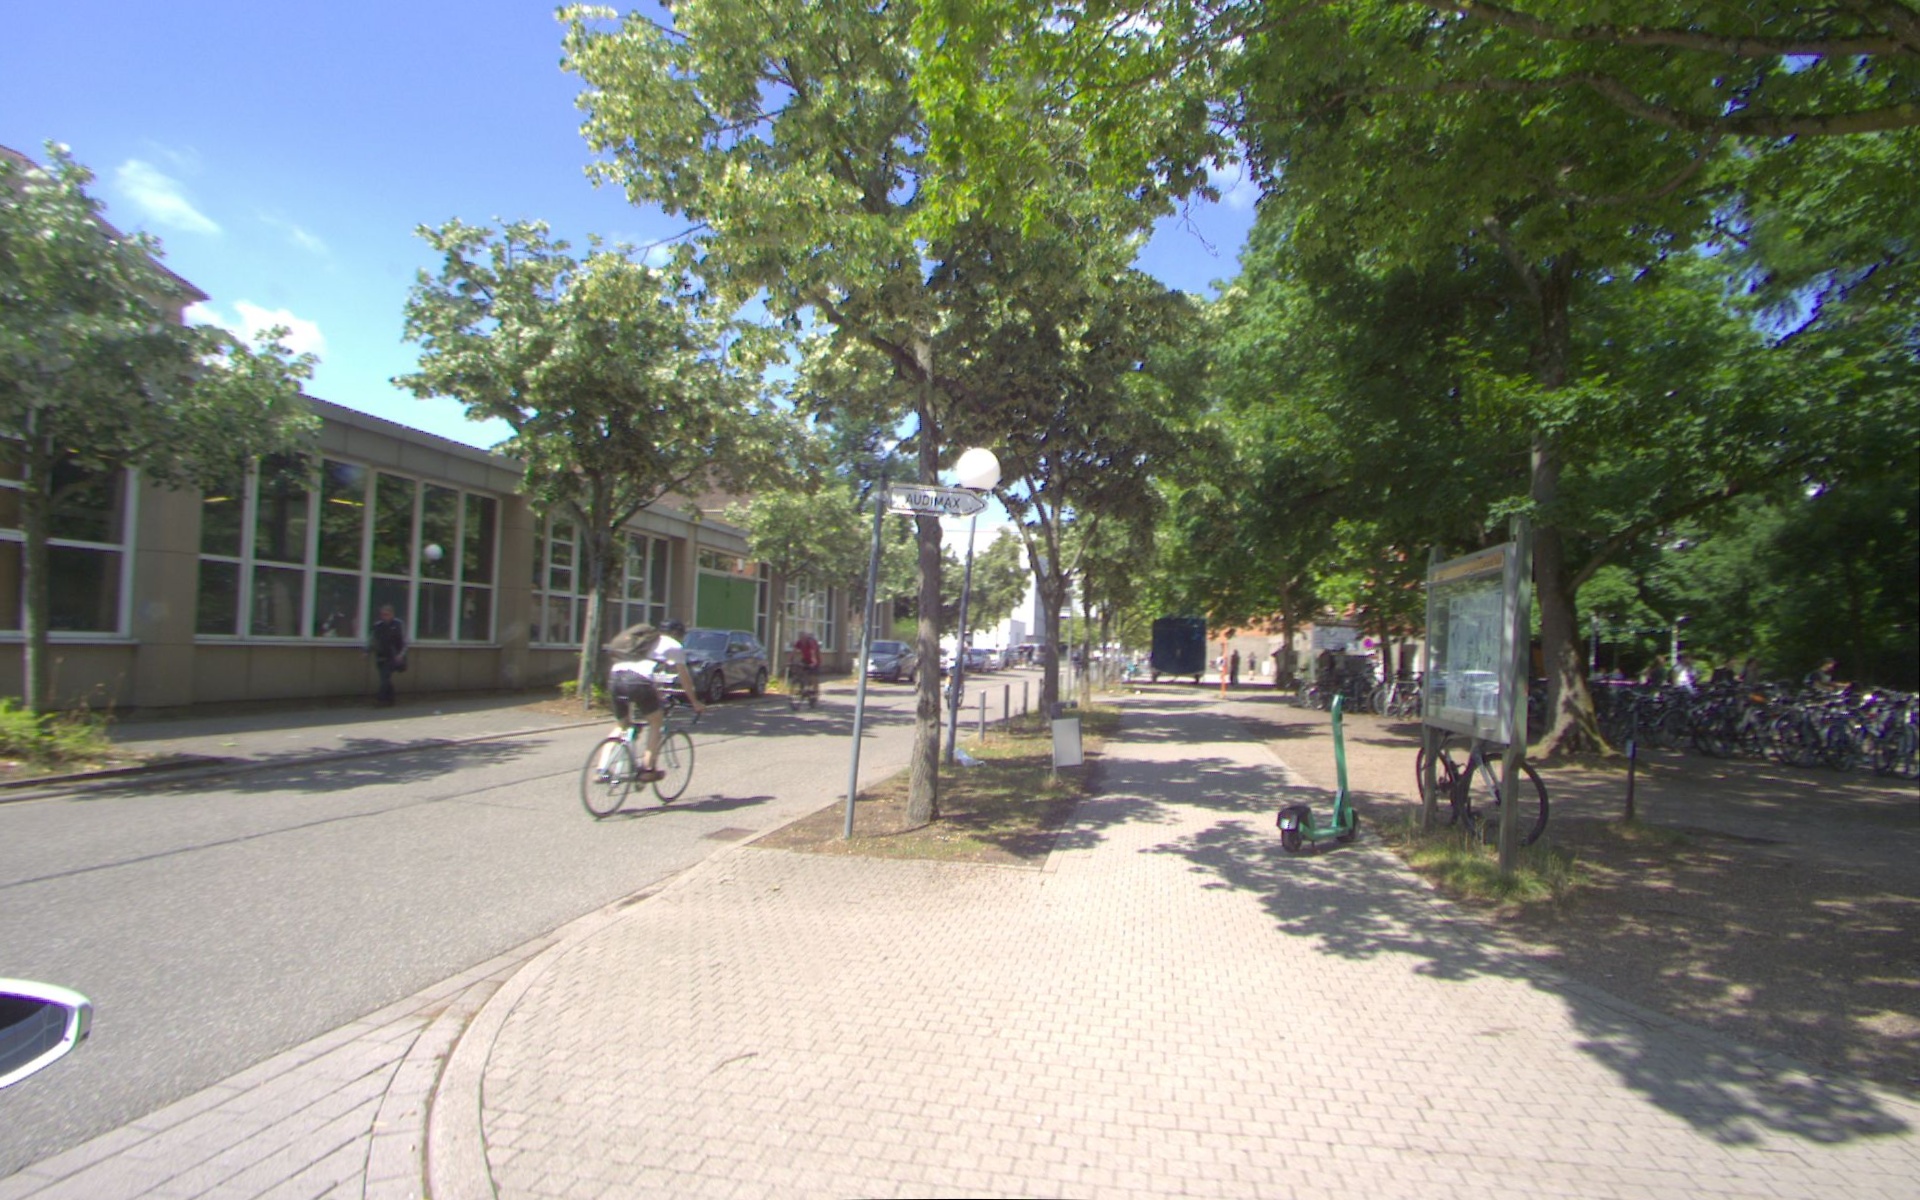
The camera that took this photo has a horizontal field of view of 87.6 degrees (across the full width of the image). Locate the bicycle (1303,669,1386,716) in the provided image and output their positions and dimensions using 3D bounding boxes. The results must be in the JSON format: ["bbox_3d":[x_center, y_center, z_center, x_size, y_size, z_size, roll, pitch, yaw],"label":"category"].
[{"bbox_3d":[9.752,2.340,25.416,1.912,1.096,0.405,2,-1,0],"label":"bicycle"}]

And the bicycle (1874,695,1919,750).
[{"bbox_3d":[18.178,2.332,19.183,1.876,0.991,0.377,3,-3,-28],"label":"bicycle"}]

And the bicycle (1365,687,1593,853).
[{"bbox_3d":[3.935,1.250,7.751,0.617,1.096,1.689,5,-5,-11],"label":"bicycle"}]

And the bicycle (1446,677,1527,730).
[{"bbox_3d":[11.039,2.174,20.992,1.767,1.041,0.439,3,-2,-21],"label":"bicycle"}]

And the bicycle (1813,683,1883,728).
[{"bbox_3d":[22.677,2.691,25.572,1.722,1.107,0.478,2,-2,-15],"label":"bicycle"}]

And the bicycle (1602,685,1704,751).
[{"bbox_3d":[11.919,2.028,17.210,1.762,1.083,0.426,3,-2,-17],"label":"bicycle"}]

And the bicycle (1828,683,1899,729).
[{"bbox_3d":[22.768,2.676,25.235,1.722,1.107,0.478,2,-2,-15],"label":"bicycle"}]

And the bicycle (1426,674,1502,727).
[{"bbox_3d":[10.765,2.148,21.393,1.712,1.066,0.493,3,-2,-25],"label":"bicycle"}]

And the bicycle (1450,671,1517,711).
[{"bbox_3d":[15.875,2.750,30.348,1.868,1.157,0.478,2,-2,-8],"label":"bicycle"}]

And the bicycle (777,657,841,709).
[{"bbox_3d":[-3.345,1.874,22.404,0.803,1.053,1.934,2,-6,9],"label":"bicycle"}]

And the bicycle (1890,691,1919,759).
[{"bbox_3d":[16.667,2.125,17.101,1.874,1.096,0.477,3,-2,-25],"label":"bicycle"}]

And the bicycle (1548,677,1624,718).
[{"bbox_3d":[16.228,2.525,25.954,1.869,0.991,0.478,2,-2,-12],"label":"bicycle"}]

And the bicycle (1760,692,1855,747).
[{"bbox_3d":[16.056,2.261,18.967,1.871,0.991,0.478,2,-2,-19],"label":"bicycle"}]

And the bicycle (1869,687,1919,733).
[{"bbox_3d":[23.215,2.706,24.619,1.581,1.107,0.348,2,-2,-8],"label":"bicycle"}]

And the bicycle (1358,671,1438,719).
[{"bbox_3d":[10.390,2.244,23.726,1.878,1.073,0.325,2,-1,-12],"label":"bicycle"}]

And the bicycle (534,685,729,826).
[{"bbox_3d":[-2.841,1.313,8.926,0.695,1.005,1.910,4,-2,13],"label":"bicycle"}]

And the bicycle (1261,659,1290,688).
[{"bbox_3d":[14.062,3.266,44.732,0.521,1.268,1.737,1,-2,-9],"label":"bicycle"}]

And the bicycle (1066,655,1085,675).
[{"bbox_3d":[6.351,3.564,55.139,0.796,1.014,2.124,3,-3,12],"label":"bicycle"}]

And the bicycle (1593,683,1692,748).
[{"bbox_3d":[12.064,2.046,17.687,1.762,1.083,0.426,3,-2,-17],"label":"bicycle"}]

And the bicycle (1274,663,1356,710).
[{"bbox_3d":[9.669,2.339,27.300,1.981,1.181,0.652,2,-1,0],"label":"bicycle"}]

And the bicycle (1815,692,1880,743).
[{"bbox_3d":[18.183,2.390,20.502,1.876,0.991,0.377,3,-3,-28],"label":"bicycle"}]

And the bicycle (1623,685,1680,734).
[{"bbox_3d":[15.107,2.374,21.867,1.882,0.991,0.475,3,-3,-38],"label":"bicycle"}]

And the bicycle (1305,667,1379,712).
[{"bbox_3d":[10.006,2.348,26.226,1.738,1.096,0.438,2,-1,0],"label":"bicycle"}]

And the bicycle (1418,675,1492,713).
[{"bbox_3d":[13.892,2.639,28.087,1.868,0.991,0.612,2,-2,-11],"label":"bicycle"}]

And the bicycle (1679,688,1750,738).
[{"bbox_3d":[15.726,2.339,20.861,1.877,0.991,0.476,3,-3,-30],"label":"bicycle"}]

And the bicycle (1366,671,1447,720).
[{"bbox_3d":[10.441,2.231,23.420,1.878,1.073,0.325,2,-1,-12],"label":"bicycle"}]

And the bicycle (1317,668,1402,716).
[{"bbox_3d":[9.854,2.256,24.712,1.912,1.096,0.405,2,-1,0],"label":"bicycle"}]

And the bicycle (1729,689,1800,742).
[{"bbox_3d":[16.077,2.288,19.996,1.877,0.991,0.476,3,-3,-31],"label":"bicycle"}]

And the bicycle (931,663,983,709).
[{"bbox_3d":[-0.039,2.101,24.743,0.796,1.014,2.124,3,-2,12],"label":"bicycle"}]

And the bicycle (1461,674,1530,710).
[{"bbox_3d":[15.738,2.705,29.441,1.868,0.991,0.478,2,-2,-8],"label":"bicycle"}]

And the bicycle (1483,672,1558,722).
[{"bbox_3d":[13.195,2.268,23.625,0.469,1.096,1.904,2,-3,-9],"label":"bicycle"}]

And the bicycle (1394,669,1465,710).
[{"bbox_3d":[13.730,2.624,29.293,1.868,1.132,0.612,2,-2,-11],"label":"bicycle"}]

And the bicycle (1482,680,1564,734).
[{"bbox_3d":[11.326,2.163,20.132,1.763,1.041,0.381,3,-2,-21],"label":"bicycle"}]

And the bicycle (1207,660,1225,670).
[{"bbox_3d":[26.830,6.821,104.993,1.780,0.997,0.560,1,-2,11],"label":"bicycle"}]

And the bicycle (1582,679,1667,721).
[{"bbox_3d":[16.603,2.486,25.029,1.868,0.991,0.612,2,-2,-11],"label":"bicycle"}]

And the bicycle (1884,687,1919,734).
[{"bbox_3d":[23.251,2.691,24.264,1.581,1.107,0.348,2,-2,-8],"label":"bicycle"}]

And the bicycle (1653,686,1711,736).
[{"bbox_3d":[15.442,2.358,21.403,1.882,0.991,0.475,3,-3,-38],"label":"bicycle"}]

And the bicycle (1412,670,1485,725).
[{"bbox_3d":[10.835,2.159,22.191,1.712,1.169,0.493,3,-2,-25],"label":"bicycle"}]

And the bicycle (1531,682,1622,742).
[{"bbox_3d":[11.594,2.106,18.835,1.763,1.083,0.425,3,-2,-19],"label":"bicycle"}]

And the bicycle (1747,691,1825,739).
[{"bbox_3d":[17.705,2.461,21.453,1.852,0.991,0.306,2,-2,-16],"label":"bicycle"}]

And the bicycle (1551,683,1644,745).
[{"bbox_3d":[11.731,2.096,18.417,1.763,1.083,0.425,3,-2,-19],"label":"bicycle"}]

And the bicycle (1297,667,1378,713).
[{"bbox_3d":[9.739,2.326,25.847,1.912,1.096,0.405,2,-1,0],"label":"bicycle"}]

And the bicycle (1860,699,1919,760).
[{"bbox_3d":[16.508,2.246,17.548,1.876,0.991,0.476,3,-3,-28],"label":"bicycle"}]

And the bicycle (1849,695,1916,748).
[{"bbox_3d":[18.050,2.363,19.581,1.876,0.991,0.377,3,-3,-28],"label":"bicycle"}]

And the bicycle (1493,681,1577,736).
[{"bbox_3d":[11.358,2.151,19.762,1.763,1.041,0.381,3,-2,-20],"label":"bicycle"}]

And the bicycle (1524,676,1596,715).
[{"bbox_3d":[16.190,2.584,27.022,1.868,0.991,0.421,2,-2,-11],"label":"bicycle"}]

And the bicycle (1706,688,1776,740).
[{"bbox_3d":[15.882,2.299,20.345,1.877,0.991,0.476,3,-3,-31],"label":"bicycle"}]

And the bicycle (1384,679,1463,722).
[{"bbox_3d":[10.457,2.273,22.588,1.709,0.921,0.493,3,-2,-18],"label":"bicycle"}]

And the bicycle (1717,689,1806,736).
[{"bbox_3d":[17.570,2.467,21.946,1.869,0.991,0.442,2,-2,-13],"label":"bicycle"}]

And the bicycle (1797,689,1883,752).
[{"bbox_3d":[16.129,2.199,18.353,1.874,1.096,0.477,3,-2,-25],"label":"bicycle"}]

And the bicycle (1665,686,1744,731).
[{"bbox_3d":[16.921,2.465,22.756,1.871,0.991,0.478,2,-2,-19],"label":"bicycle"}]

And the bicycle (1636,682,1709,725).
[{"bbox_3d":[17.169,2.499,24.131,1.873,0.991,0.535,2,-2,-23],"label":"bicycle"}]

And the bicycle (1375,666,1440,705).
[{"bbox_3d":[13.597,2.608,30.448,1.775,1.132,0.612,2,-2,-11],"label":"bicycle"}]
